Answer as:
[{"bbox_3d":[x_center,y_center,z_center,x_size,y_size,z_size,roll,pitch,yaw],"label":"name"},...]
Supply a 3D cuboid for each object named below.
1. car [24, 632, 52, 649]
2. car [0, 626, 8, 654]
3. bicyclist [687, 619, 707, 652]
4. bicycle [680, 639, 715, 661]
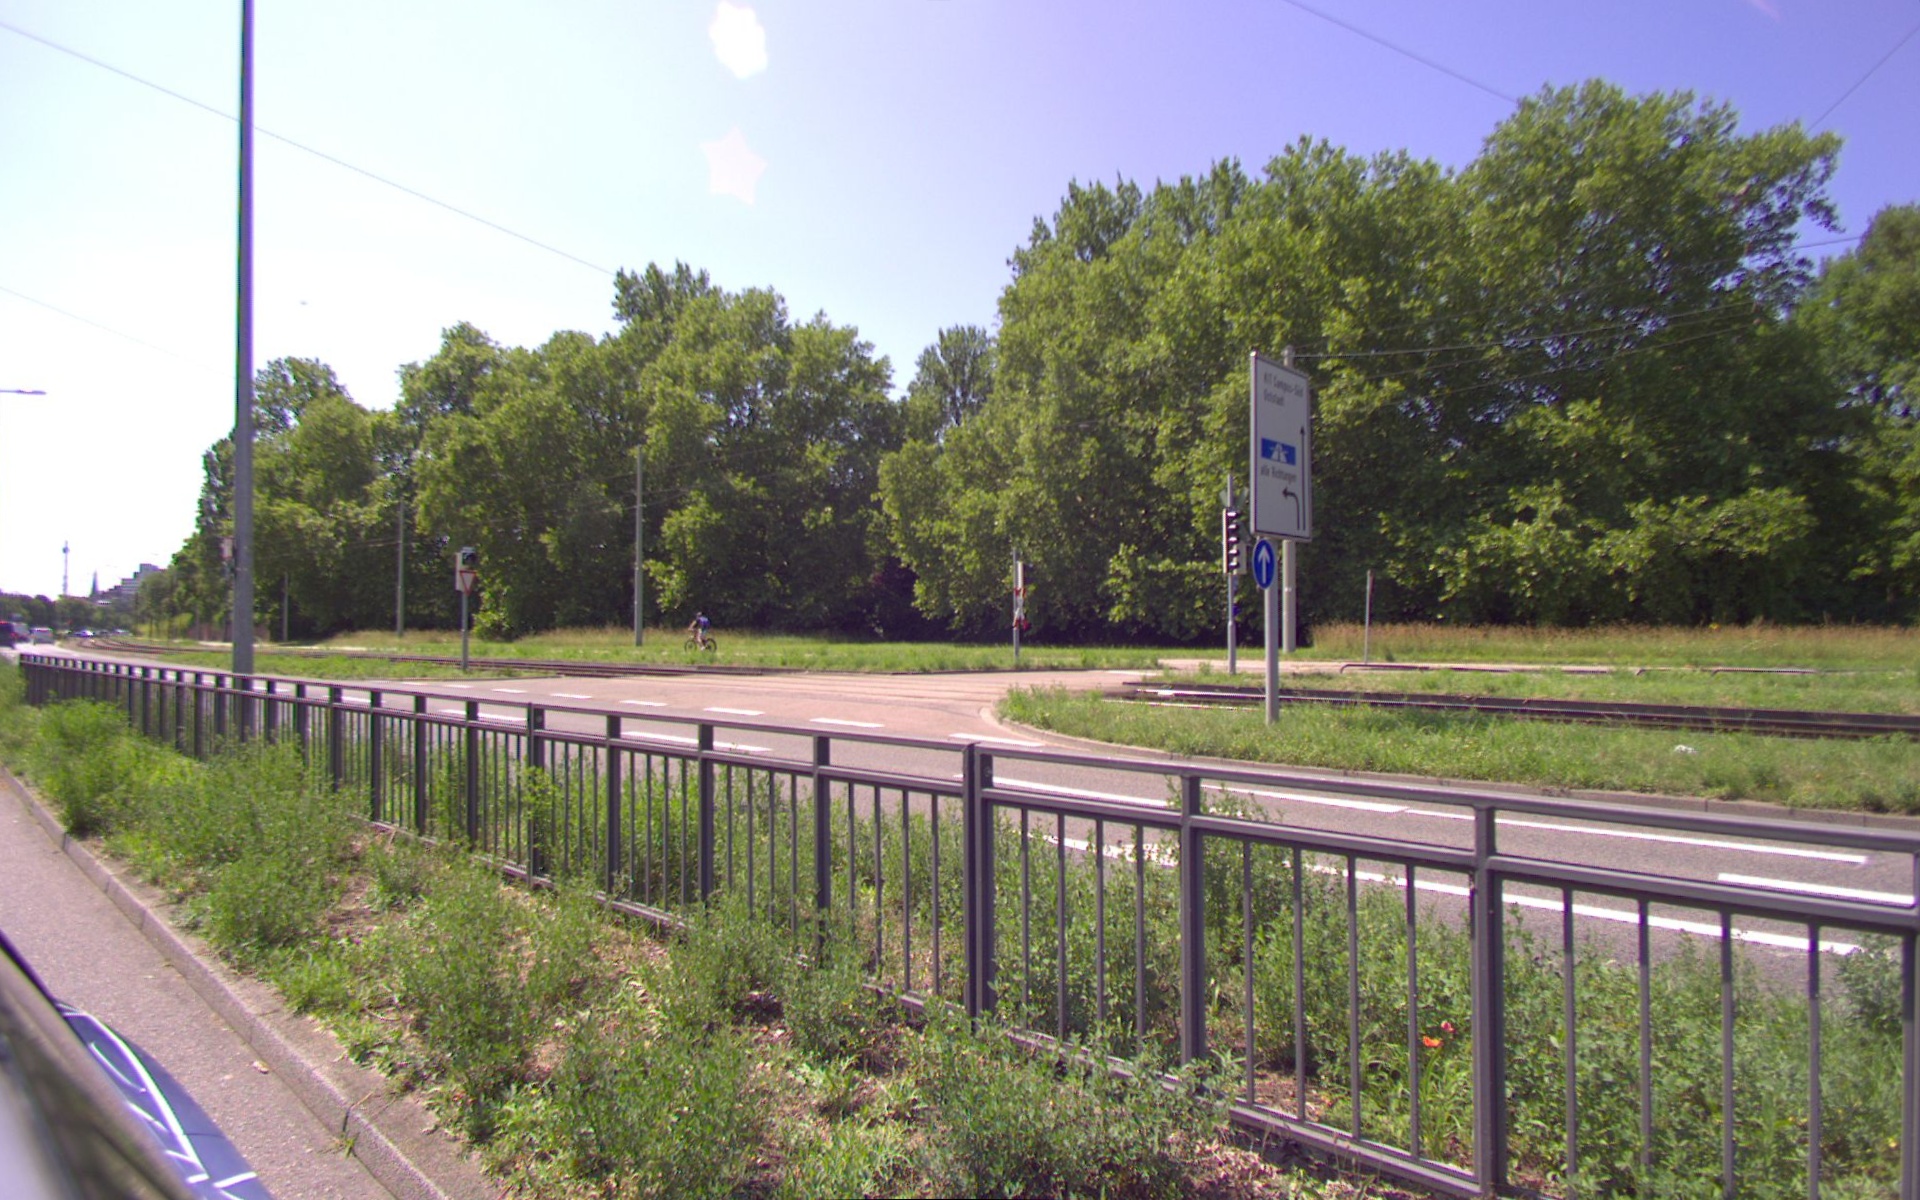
[{"bbox_3d":[-111.452,4.948,122.284,5.029,2.029,1.972,-3,-4,42],"label":"car"},{"bbox_3d":[-83.630,3.415,87.116,5.372,2.384,1.972,-2,-3,43],"label":"car"},{"bbox_3d":[-10.933,1.471,42.062,0.679,1.346,0.503,-2,-2,36],"label":"bicyclist"},{"bbox_3d":[-10.915,2.072,42.067,1.562,0.908,0.503,-2,-2,36],"label":"bicycle"}]
